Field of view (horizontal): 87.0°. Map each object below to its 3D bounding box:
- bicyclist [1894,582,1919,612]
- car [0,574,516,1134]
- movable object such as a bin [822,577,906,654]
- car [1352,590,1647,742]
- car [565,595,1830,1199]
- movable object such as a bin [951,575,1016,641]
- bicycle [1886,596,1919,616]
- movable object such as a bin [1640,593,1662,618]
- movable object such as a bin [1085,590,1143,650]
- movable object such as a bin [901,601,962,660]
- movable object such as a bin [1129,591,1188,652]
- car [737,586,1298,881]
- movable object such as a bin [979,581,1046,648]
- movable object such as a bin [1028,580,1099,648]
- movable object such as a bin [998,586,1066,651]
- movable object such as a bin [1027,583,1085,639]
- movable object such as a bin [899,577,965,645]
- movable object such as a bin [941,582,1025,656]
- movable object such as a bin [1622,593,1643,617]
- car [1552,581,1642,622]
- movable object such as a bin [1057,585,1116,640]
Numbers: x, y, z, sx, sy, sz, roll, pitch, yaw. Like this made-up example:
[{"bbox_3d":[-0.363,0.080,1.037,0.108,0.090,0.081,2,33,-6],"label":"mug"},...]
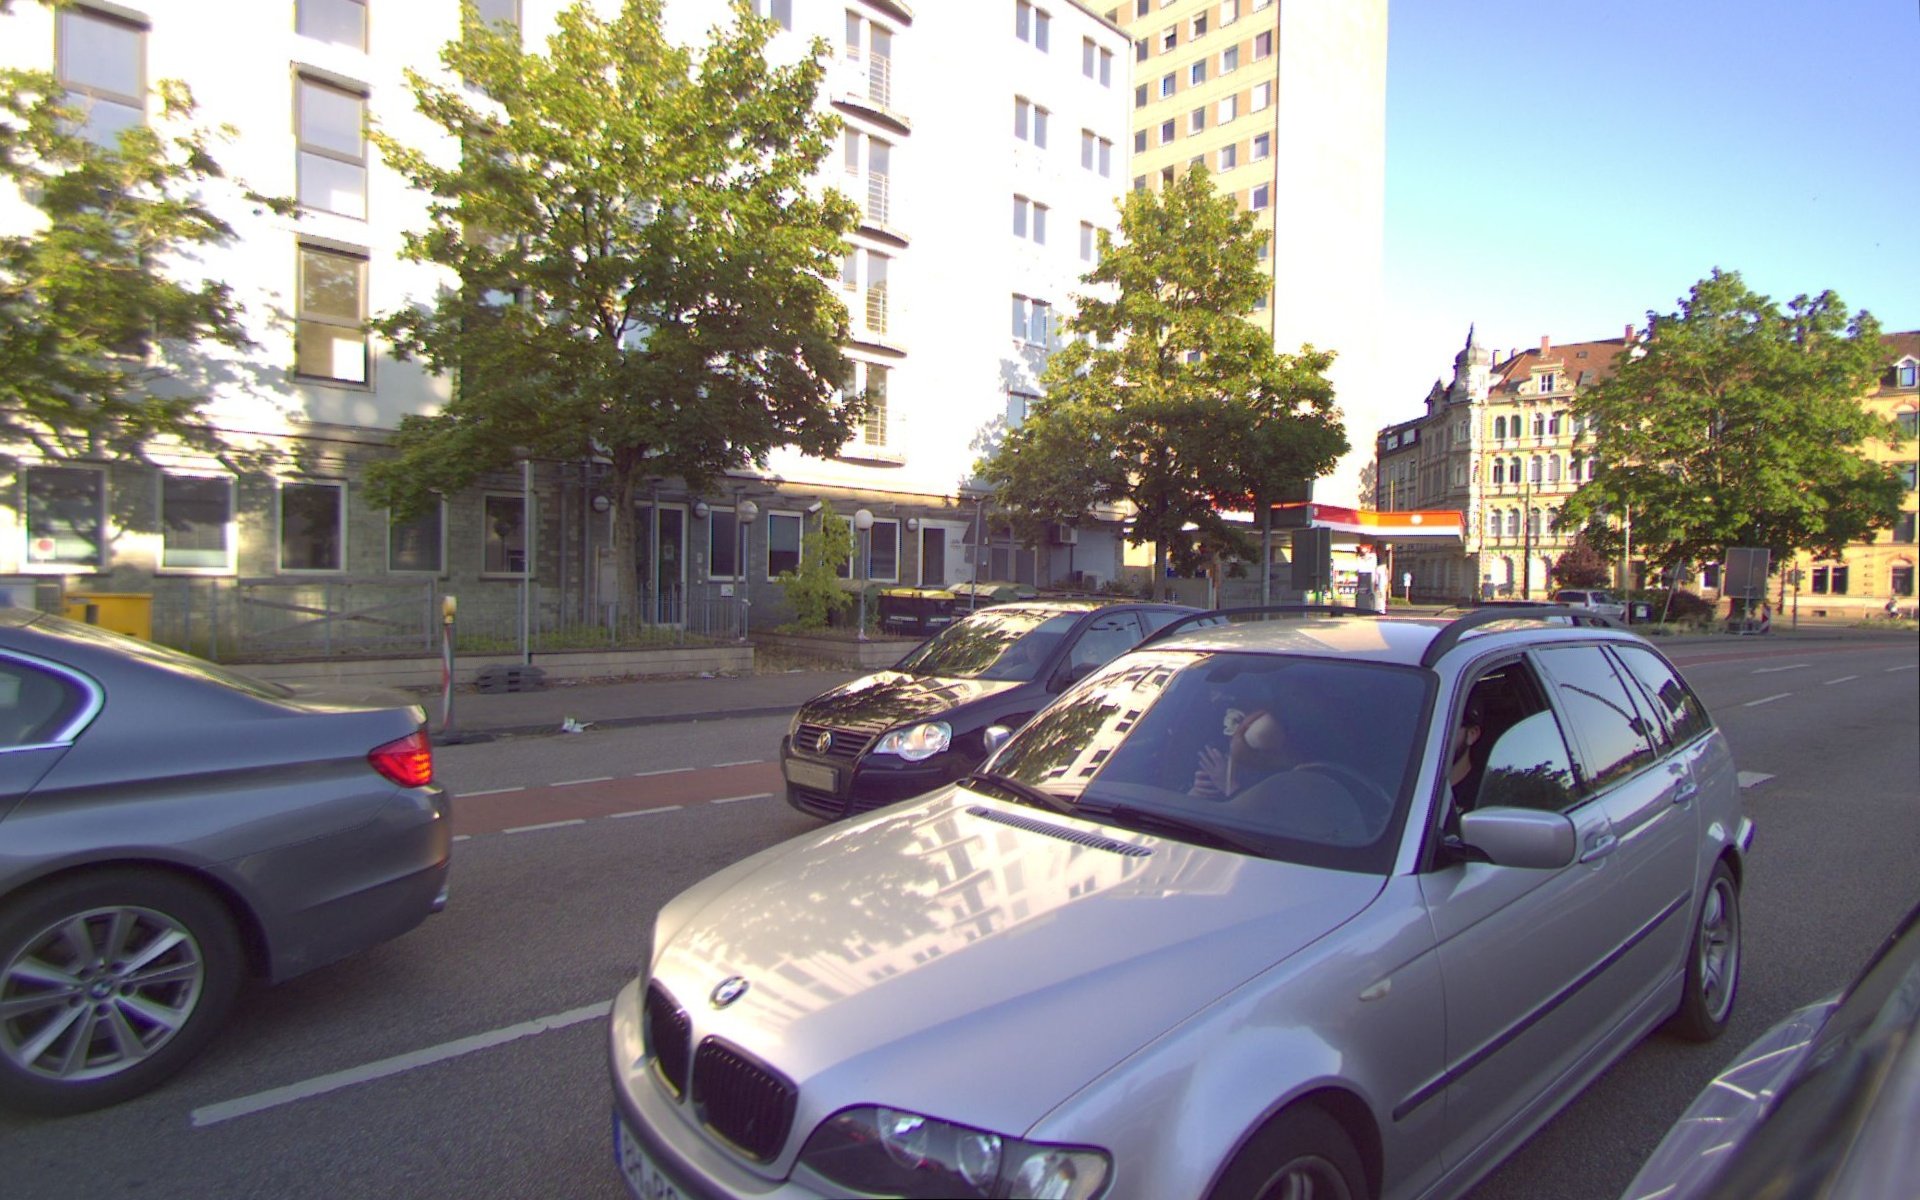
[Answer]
[{"bbox_3d":[53.873,-0.191,57.534,1.062,1.669,0.721,2,1,43],"label":"bicyclist"},{"bbox_3d":[-3.840,0.662,2.648,4.588,1.467,1.817,0,0,-43],"label":"car"},{"bbox_3d":[-1.942,0.285,20.411,1.348,1.479,1.088,2,1,45],"label":"movable object such as a bin"},{"bbox_3d":[6.366,0.625,11.759,3.975,1.467,1.730,0,0,-41],"label":"car"},{"bbox_3d":[1.219,0.707,3.265,4.360,1.436,1.674,0,0,-39],"label":"car"},{"bbox_3d":[0.557,0.167,24.193,1.143,1.517,1.033,0,1,-44],"label":"movable object such as a bin"},{"bbox_3d":[53.834,0.327,57.380,1.920,1.072,0.444,2,1,43],"label":"bicycle"},{"bbox_3d":[29.424,0.227,43.105,0.675,1.031,0.544,0,1,-36],"label":"movable object such as a bin"},{"bbox_3d":[3.602,0.447,23.687,0.938,1.345,0.954,0,1,-43],"label":"movable object such as a bin"},{"bbox_3d":[-0.554,0.572,19.480,0.851,1.058,0.807,2,1,45],"label":"movable object such as a bin"},{"bbox_3d":[4.543,0.474,23.184,0.938,1.345,0.954,0,1,-43],"label":"movable object such as a bin"},{"bbox_3d":[0.570,0.649,6.891,3.804,1.467,1.583,0,0,-41],"label":"car"},{"bbox_3d":[1.205,0.318,23.201,1.143,1.467,1.033,0,1,-44],"label":"movable object such as a bin"},{"bbox_3d":[2.150,0.274,21.055,1.143,1.345,0.954,0,1,-44],"label":"movable object such as a bin"},{"bbox_3d":[1.564,0.384,22.071,1.143,1.345,0.954,0,1,-44],"label":"movable object such as a bin"},{"bbox_3d":[2.405,0.259,25.354,1.080,1.345,0.954,0,1,-44],"label":"movable object such as a bin"},{"bbox_3d":[-0.660,0.234,23.631,1.143,1.517,1.033,0,1,-44],"label":"movable object such as a bin"},{"bbox_3d":[0.470,0.359,20.871,1.348,1.441,1.088,2,2,45],"label":"movable object such as a bin"},{"bbox_3d":[29.110,0.211,43.791,0.675,1.031,0.544,0,1,-36],"label":"movable object such as a bin"},{"bbox_3d":[25.772,0.029,40.912,3.723,1.535,1.691,-1,2,-34],"label":"car"},{"bbox_3d":[3.085,0.289,24.625,1.080,1.299,0.954,0,1,-44],"label":"movable object such as a bin"}]
